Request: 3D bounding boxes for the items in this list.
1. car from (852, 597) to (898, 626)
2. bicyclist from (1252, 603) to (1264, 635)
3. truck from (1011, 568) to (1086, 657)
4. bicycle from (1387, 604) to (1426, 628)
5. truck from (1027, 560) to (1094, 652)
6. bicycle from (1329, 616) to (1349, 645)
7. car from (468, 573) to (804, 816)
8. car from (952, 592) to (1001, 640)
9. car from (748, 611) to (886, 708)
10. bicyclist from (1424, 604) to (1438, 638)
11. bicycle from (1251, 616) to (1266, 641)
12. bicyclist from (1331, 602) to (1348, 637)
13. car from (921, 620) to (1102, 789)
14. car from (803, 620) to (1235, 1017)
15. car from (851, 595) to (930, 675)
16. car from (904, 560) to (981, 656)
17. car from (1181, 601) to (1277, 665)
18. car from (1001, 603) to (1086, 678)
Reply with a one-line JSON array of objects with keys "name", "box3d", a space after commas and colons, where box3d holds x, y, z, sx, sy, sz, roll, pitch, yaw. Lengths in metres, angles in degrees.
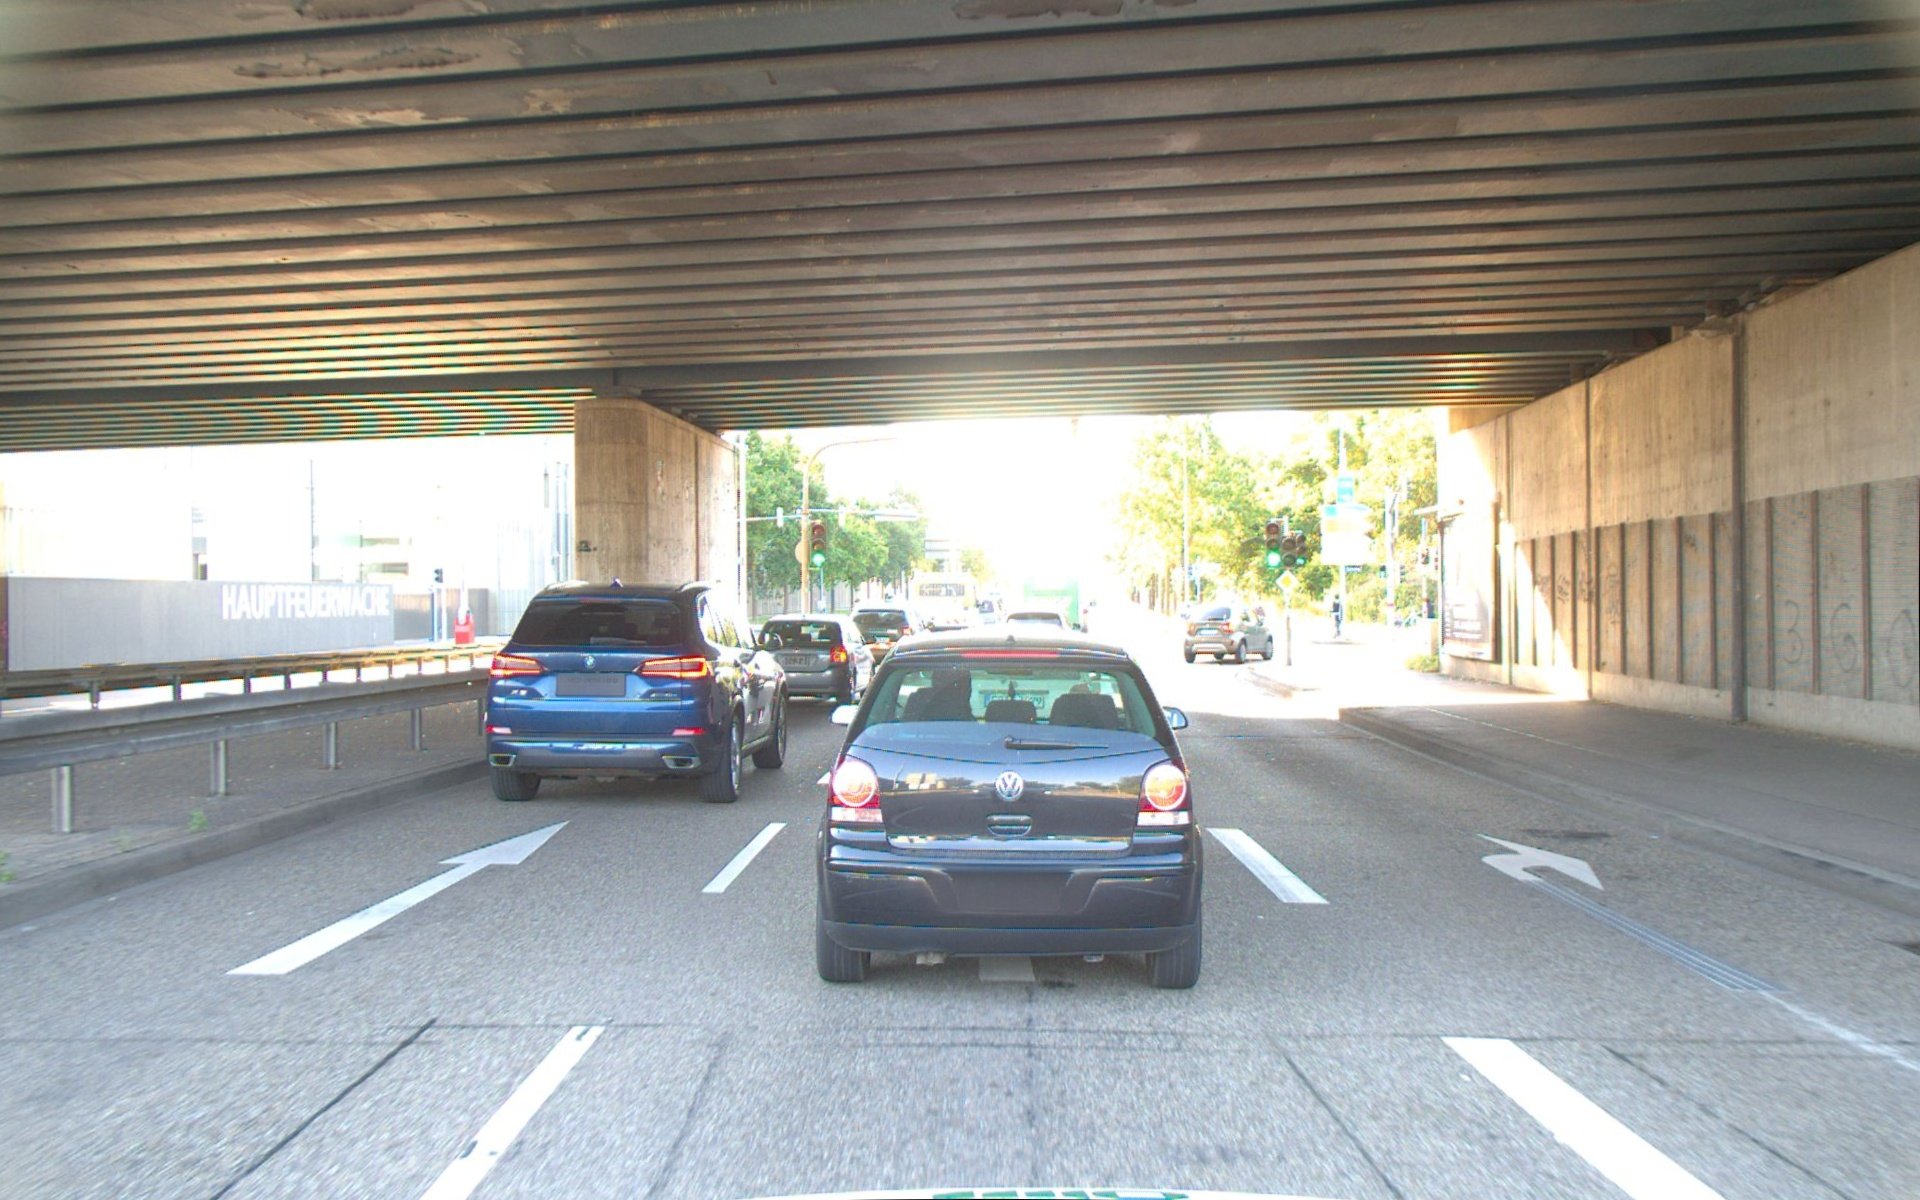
[{"name": "car", "box3d": [-4.610, 0.637, 90.006, 1.952, 1.501, 4.082, 1, -1, 4]}, {"name": "bicyclist", "box3d": [11.479, 0.730, 63.715, 0.418, 1.254, 0.460, -1, -1, 5]}, {"name": "truck", "box3d": [2.551, 0.363, 46.674, 1.954, 2.356, 4.002, 1, -1, 5]}, {"name": "bicycle", "box3d": [20.208, 0.719, 74.798, 1.628, 1.008, 0.578, -1, 2, 22]}, {"name": "truck", "box3d": [3.174, 0.212, 51.638, 1.954, 2.715, 4.002, 1, -1, 5]}, {"name": "bicycle", "box3d": [15.003, 1.192, 65.502, 0.553, 1.132, 1.622, 1, -1, 5]}, {"name": "car", "box3d": [-2.612, 0.724, 14.506, 1.952, 1.764, 4.533, 1, -1, 1]}, {"name": "car", "box3d": [0.645, 0.616, 62.075, 1.582, 1.709, 3.684, 1, -1, 4]}, {"name": "car", "box3d": [-2.250, 0.926, 26.865, 1.582, 1.434, 3.685, 1, -1, 5]}, {"name": "bicyclist", "box3d": [18.650, 0.823, 65.520, 0.418, 1.332, 0.460, 1, -1, 5]}, {"name": "bicycle", "box3d": [11.493, 1.107, 63.677, 0.428, 0.930, 1.027, -2, -1, 5]}, {"name": "bicyclist", "box3d": [15.013, 0.771, 65.452, 0.532, 1.339, 0.836, 1, -1, 5]}, {"name": "car", "box3d": [0.435, 0.934, 16.395, 1.546, 1.438, 4.061, 1, -1, 0]}, {"name": "car", "box3d": [0.344, 0.829, 7.994, 1.582, 1.434, 3.684, 1, -1, 4]}, {"name": "car", "box3d": [-1.546, 0.792, 37.797, 1.583, 1.709, 3.683, 1, -1, 0]}, {"name": "car", "box3d": [-0.479, 0.242, 48.201, 2.093, 2.621, 5.086, 1, -1, 0]}, {"name": "car", "box3d": [7.558, 0.916, 46.215, 1.702, 1.659, 4.060, 1, -1, 23]}, {"name": "car", "box3d": [1.952, 0.898, 37.659, 1.758, 1.586, 4.002, 1, -1, 5]}]
